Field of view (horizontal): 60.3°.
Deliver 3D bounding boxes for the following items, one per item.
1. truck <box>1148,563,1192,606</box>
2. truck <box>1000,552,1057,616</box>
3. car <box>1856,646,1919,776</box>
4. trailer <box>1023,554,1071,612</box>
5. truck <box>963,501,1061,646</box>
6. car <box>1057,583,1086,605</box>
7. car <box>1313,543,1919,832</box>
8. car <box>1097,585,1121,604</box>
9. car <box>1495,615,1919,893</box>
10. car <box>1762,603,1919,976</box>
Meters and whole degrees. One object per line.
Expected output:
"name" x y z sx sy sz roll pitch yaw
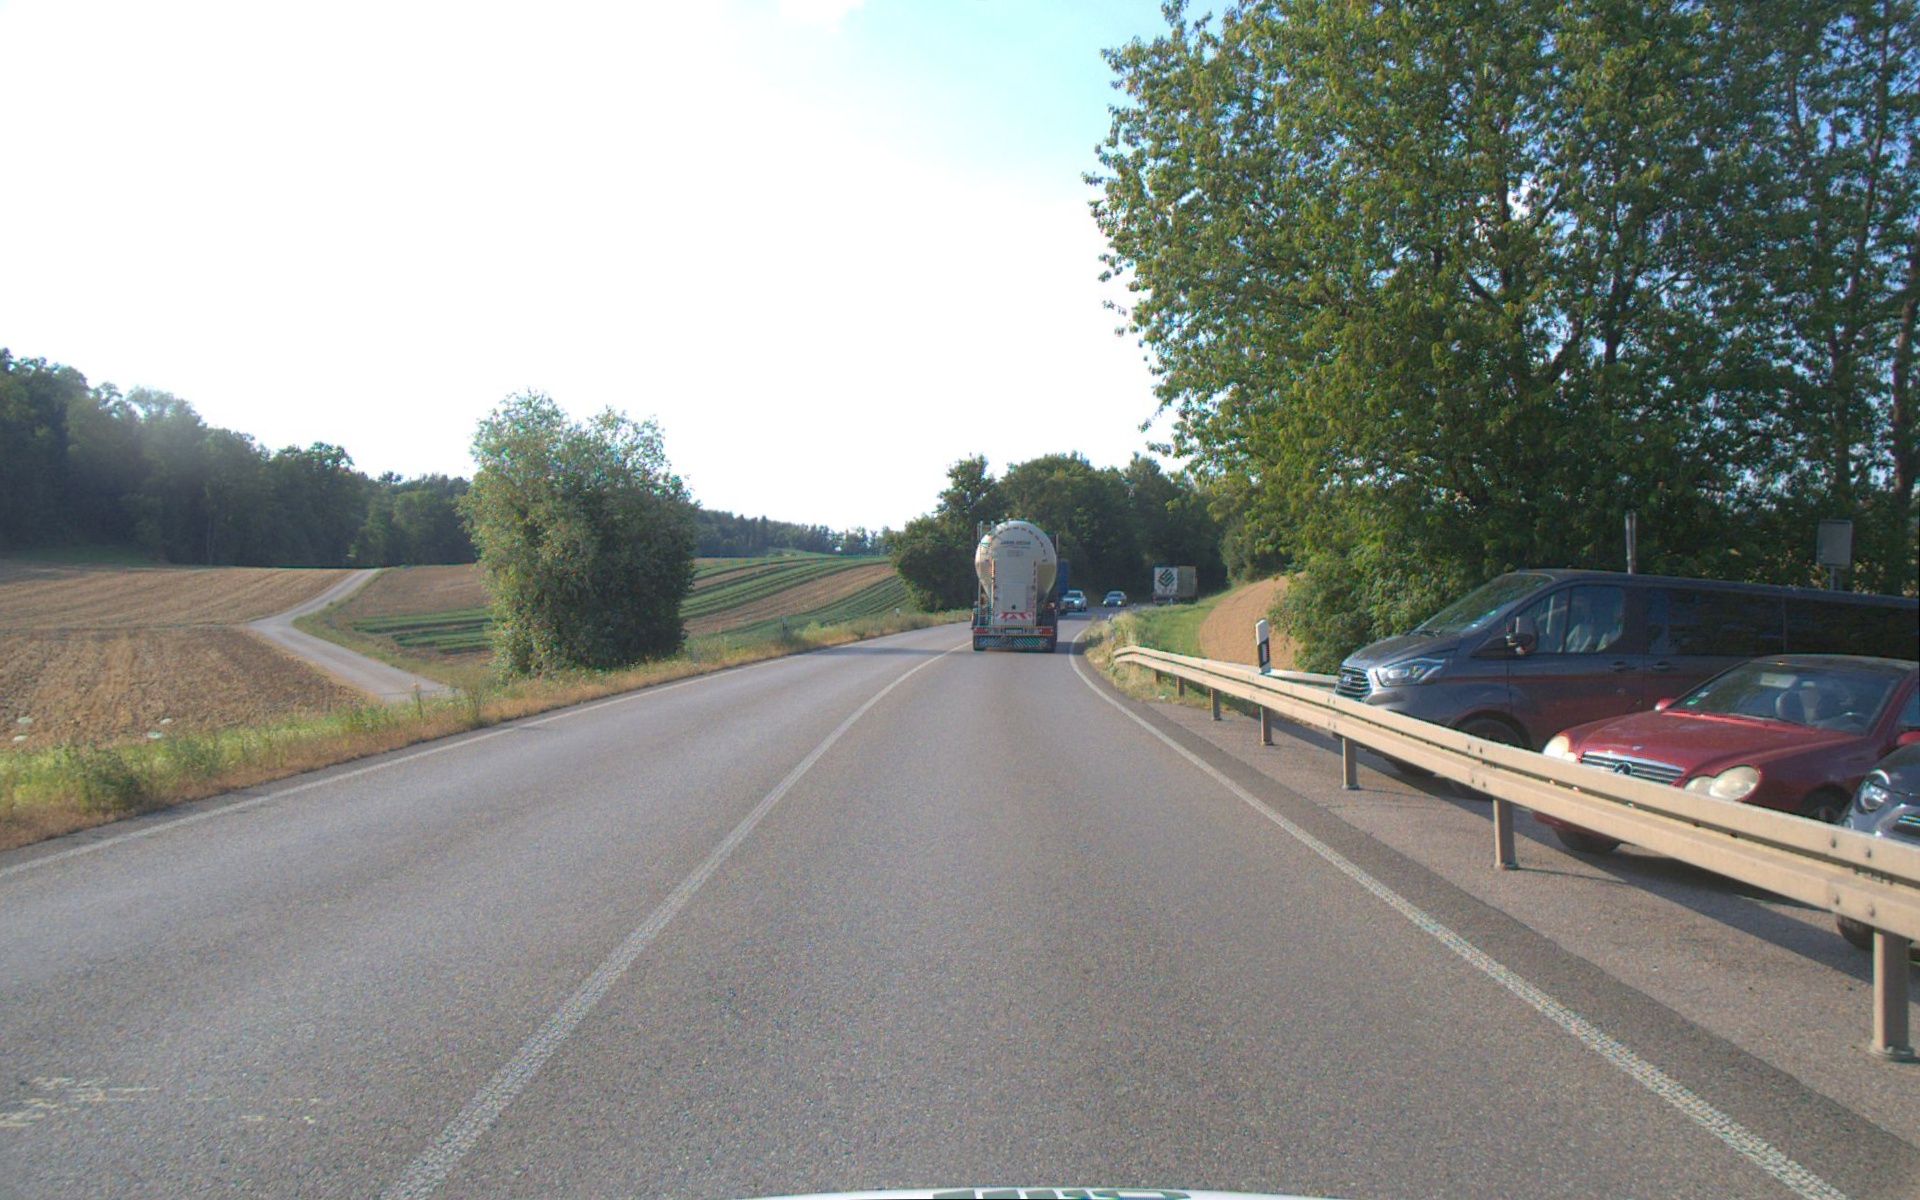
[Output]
"truck" 21.898 -1.645 172.141 3.115 4.301 13.184 0 1 13
"truck" 4.584 -1.056 108.001 2.338 3.989 10.169 -1 1 10
"car" 12.803 1.351 19.931 3.675 1.466 1.795 2 0 -28
"trailer" 6.249 -1.234 117.438 2.314 3.989 8.969 -1 1 10
"truck" 1.856 -0.778 54.906 2.832 4.215 13.177 0 0 3
"car" 9.172 -0.490 135.721 1.933 1.679 4.366 -1 1 9
"car" 5.947 0.740 14.695 5.039 1.977 1.974 5 0 -3
"car" 14.465 -0.536 160.157 1.933 1.679 4.366 0 1 11
"car" 5.682 0.973 10.809 4.265 1.424 1.704 4 0 -30
"car" 5.922 0.943 7.971 4.271 1.535 1.702 4 0 -33
